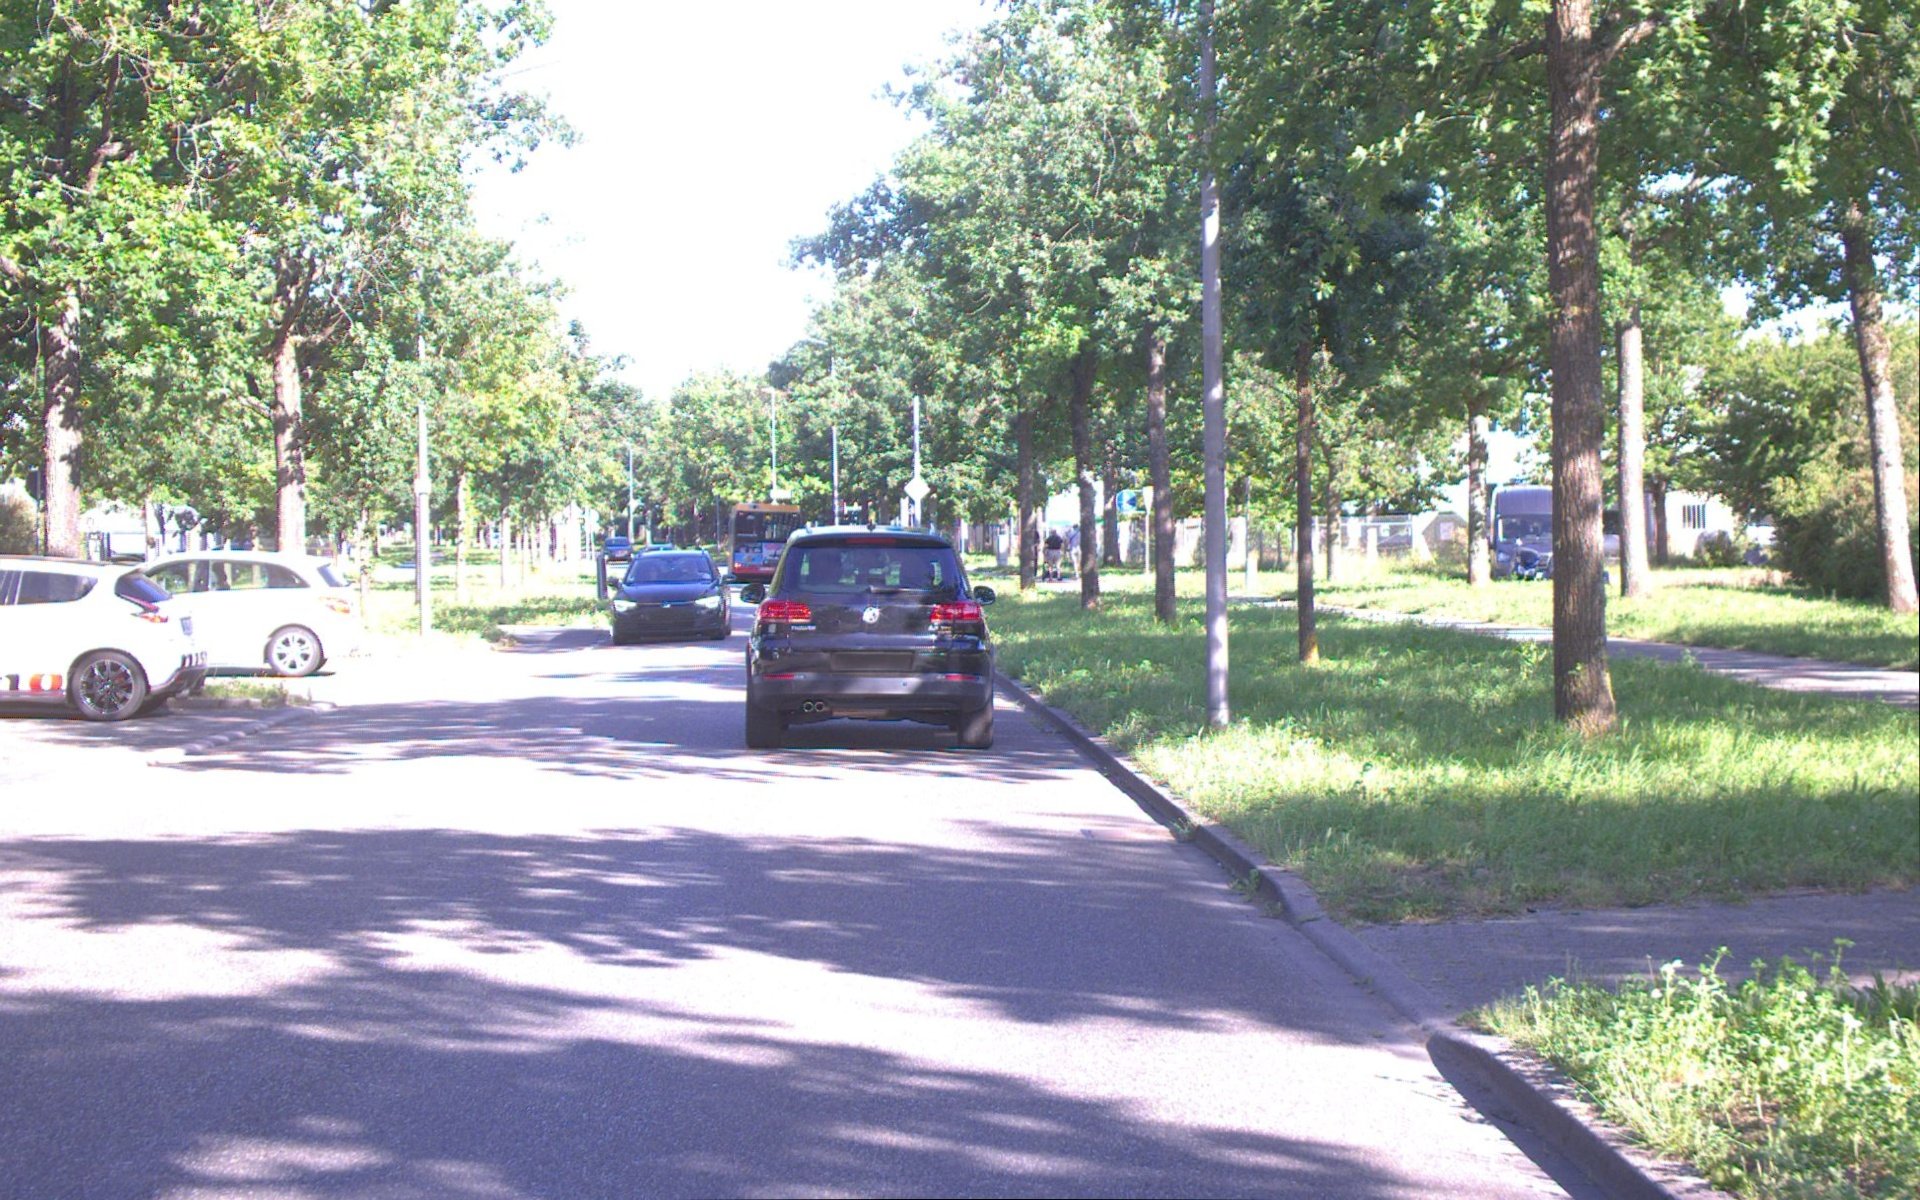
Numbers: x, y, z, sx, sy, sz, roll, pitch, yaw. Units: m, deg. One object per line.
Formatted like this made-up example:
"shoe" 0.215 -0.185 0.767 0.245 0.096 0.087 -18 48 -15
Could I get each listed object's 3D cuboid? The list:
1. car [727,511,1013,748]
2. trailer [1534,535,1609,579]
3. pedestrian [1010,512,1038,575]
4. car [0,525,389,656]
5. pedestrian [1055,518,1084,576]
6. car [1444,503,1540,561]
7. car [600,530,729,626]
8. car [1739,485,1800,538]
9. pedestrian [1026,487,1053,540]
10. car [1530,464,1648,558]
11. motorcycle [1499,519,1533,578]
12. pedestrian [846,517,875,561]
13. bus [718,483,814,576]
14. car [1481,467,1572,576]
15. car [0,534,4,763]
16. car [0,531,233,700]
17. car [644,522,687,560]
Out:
"car" -0.786 0.154 26.624 1.935 1.650 4.428 0 2 -5
"trailer" 13.921 -0.974 78.317 1.579 0.865 2.053 -1 -3 8
"pedestrian" 1.905 -1.685 101.894 0.725 1.806 0.868 -1 4 -5
"car" -9.587 -0.135 43.197 4.625 1.553 2.192 0 2 -6
"pedestrian" 3.366 -1.635 105.808 0.725 1.749 0.868 -3 1 -4
"car" 15.709 -2.022 101.650 2.005 1.658 3.597 -1 1 -4
"car" -4.730 -0.383 55.503 1.684 1.397 4.427 -2 2 0
"car" 26.017 -2.841 110.555 1.836 1.634 3.998 -1 1 13
"pedestrian" 2.433 -2.638 105.169 0.725 1.597 0.868 -1 1 -5
"car" 18.381 -2.607 100.677 2.160 2.634 4.852 -1 1 -4
"motorcycle" 12.962 -1.195 80.197 0.663 1.227 2.405 -1 -3 7
"pedestrian" -3.852 -2.353 132.732 1.019 1.646 1.100 -1 1 -5
"bus" -7.646 -2.802 134.217 2.764 3.444 11.214 -1 2 -8
"car" 14.898 -2.117 90.624 2.085 2.557 5.971 1 4 7
"car" -8.665 0.331 22.195 4.412 1.550 2.088 1 1 -1
"car" -9.272 0.112 32.503 4.412 1.506 2.088 1 2 -3
"car" -12.887 -2.594 150.292 1.765 1.523 4.496 -2 2 -5
